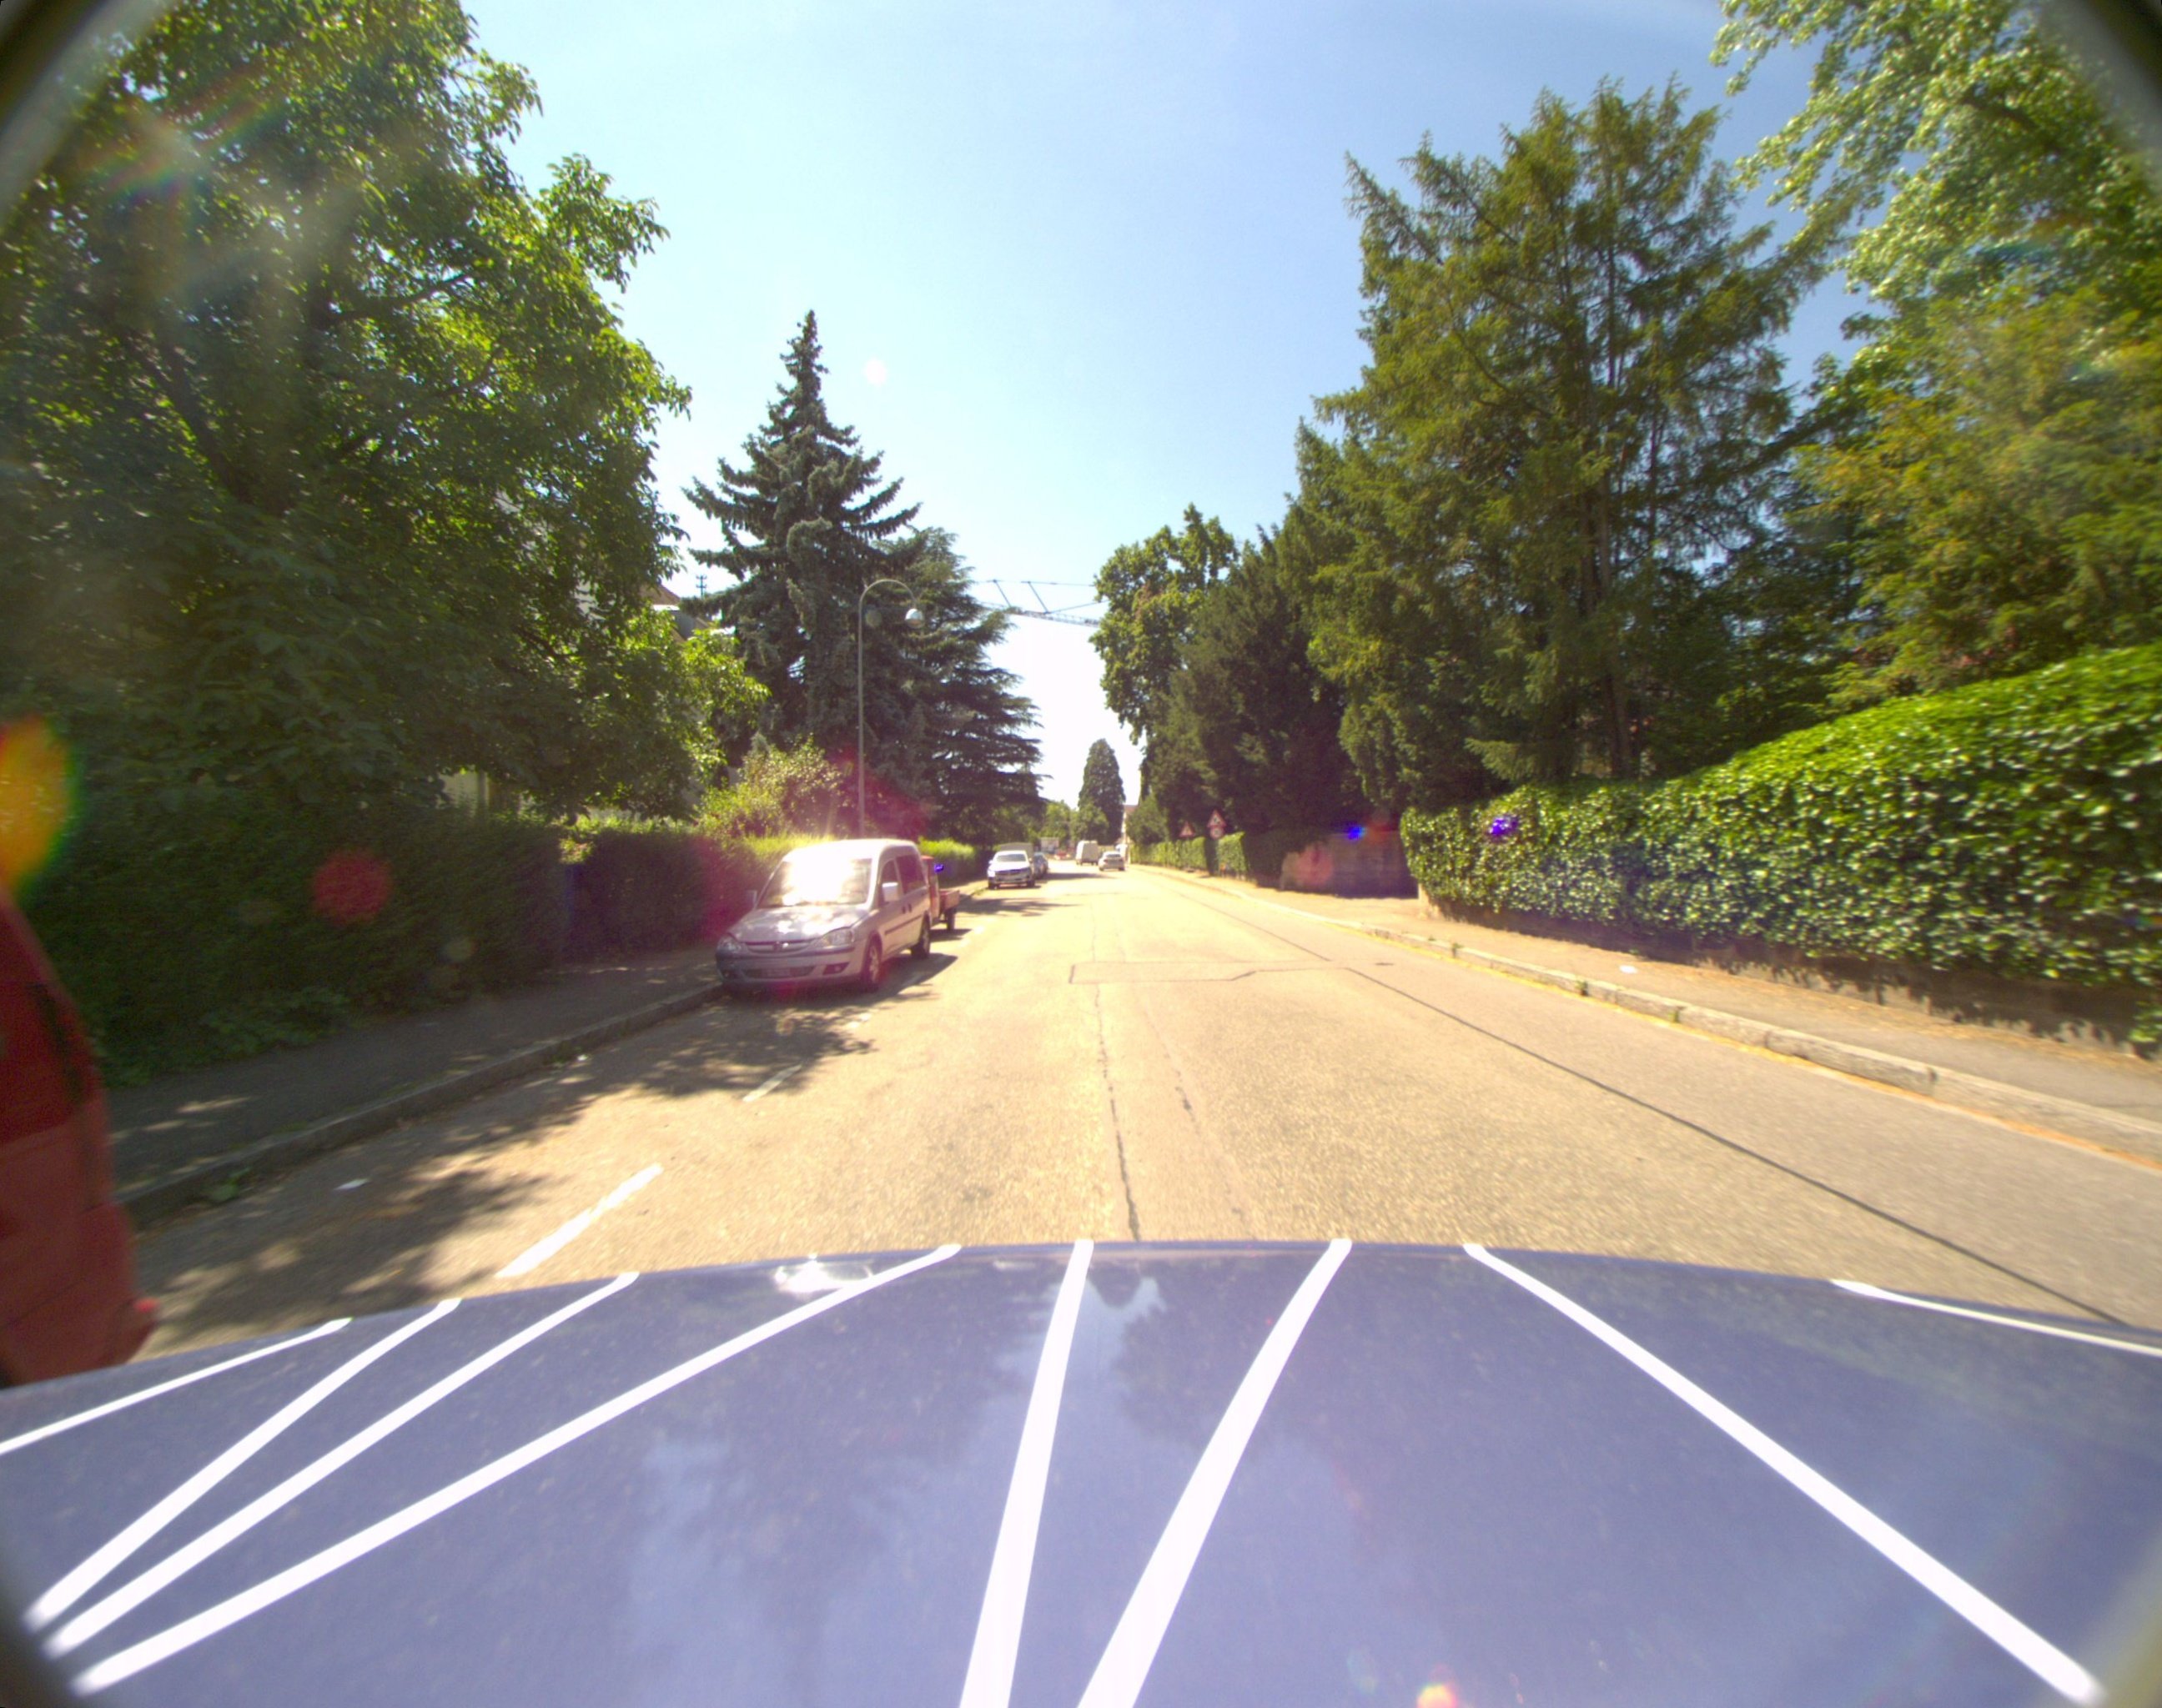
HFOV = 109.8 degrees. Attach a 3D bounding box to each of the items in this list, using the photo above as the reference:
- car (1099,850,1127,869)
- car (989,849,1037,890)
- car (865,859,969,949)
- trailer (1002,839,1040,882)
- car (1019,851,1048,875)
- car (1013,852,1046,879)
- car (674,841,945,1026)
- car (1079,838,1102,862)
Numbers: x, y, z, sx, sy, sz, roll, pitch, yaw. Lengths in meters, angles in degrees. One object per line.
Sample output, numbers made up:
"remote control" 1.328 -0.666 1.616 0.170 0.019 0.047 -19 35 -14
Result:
"car" 2.434 0.401 58.457 1.869 1.375 4.603 0 0 -2
"car" -2.972 0.644 33.979 1.776 1.622 4.603 -3 0 -2
"car" -3.117 0.900 14.860 1.263 1.487 2.709 -3 1 2
"trailer" -3.074 0.330 39.576 1.684 2.056 3.707 -3 0 -2
"car" -3.101 0.580 49.877 1.619 1.461 4.063 -2 1 0
"car" -2.952 0.646 44.149 1.619 1.388 4.257 -2 1 -1
"car" -3.111 0.776 9.847 1.750 1.772 4.542 -3 1 1
"car" 0.981 -0.416 83.427 1.999 2.518 5.891 -1 0 -4
